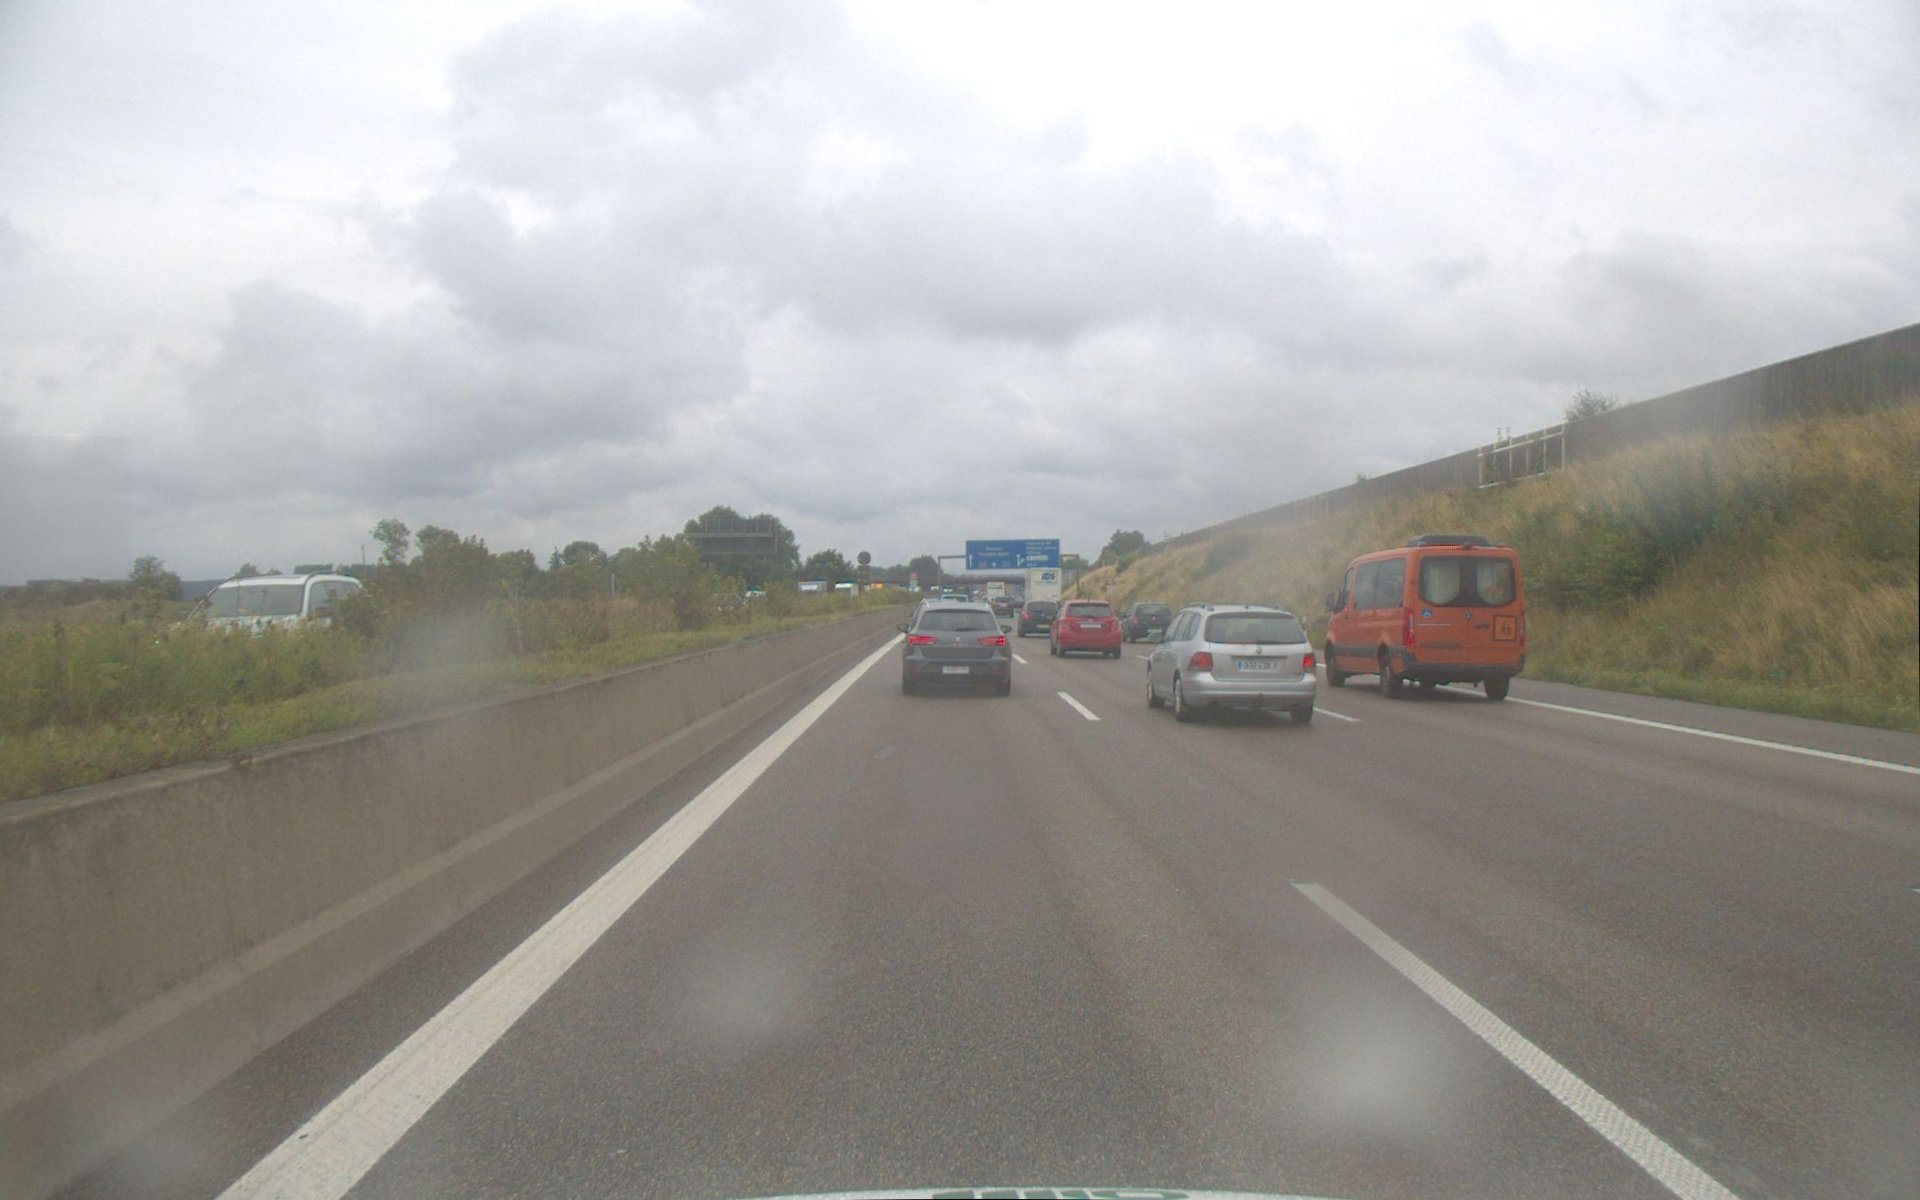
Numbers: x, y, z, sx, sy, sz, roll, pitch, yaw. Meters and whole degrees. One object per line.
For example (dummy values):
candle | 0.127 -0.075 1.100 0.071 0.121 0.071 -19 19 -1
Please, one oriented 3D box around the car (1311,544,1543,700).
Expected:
car | 7.728 0.315 28.138 2.044 2.355 6.179 0 0 -2

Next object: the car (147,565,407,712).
car | -9.665 0.493 23.865 1.782 1.870 4.800 -1 0 -1

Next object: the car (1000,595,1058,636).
car | 2.697 0.587 65.520 1.882 1.548 4.620 0 0 -3

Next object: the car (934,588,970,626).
car | -0.397 0.335 82.003 1.670 1.828 3.855 -2 0 0

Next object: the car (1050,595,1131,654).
car | 3.466 0.621 44.626 1.852 1.472 4.685 0 0 0

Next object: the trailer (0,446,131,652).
trailer | -17.673 -0.892 25.908 2.855 3.488 13.239 1 0 -1

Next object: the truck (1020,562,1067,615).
truck | 7.308 -0.912 147.513 3.216 4.370 19.032 1 0 0

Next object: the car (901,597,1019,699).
car | -0.002 0.726 26.695 1.732 1.493 4.000 1 0 0

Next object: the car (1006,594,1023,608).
car | 7.282 0.093 221.937 1.953 1.892 4.389 0 0 -1

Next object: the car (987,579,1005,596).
car | 4.478 -1.517 206.126 1.953 2.049 3.999 -1 0 -2

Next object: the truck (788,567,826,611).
truck | -16.777 -1.178 182.007 3.159 4.731 9.674 1 0 1

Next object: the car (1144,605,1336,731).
car | 3.586 0.815 21.965 1.706 1.450 4.516 -1 0 -1

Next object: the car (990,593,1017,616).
car | 3.288 0.336 125.446 1.808 1.716 3.998 1 0 -2

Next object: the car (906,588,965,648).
car | -0.736 0.552 51.492 1.718 1.780 4.000 1 0 1

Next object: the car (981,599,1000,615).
car | 2.986 0.642 163.762 1.716 1.544 3.999 0 0 -1

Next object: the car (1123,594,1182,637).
car | 6.769 0.538 58.535 1.667 1.426 3.875 1 0 1
